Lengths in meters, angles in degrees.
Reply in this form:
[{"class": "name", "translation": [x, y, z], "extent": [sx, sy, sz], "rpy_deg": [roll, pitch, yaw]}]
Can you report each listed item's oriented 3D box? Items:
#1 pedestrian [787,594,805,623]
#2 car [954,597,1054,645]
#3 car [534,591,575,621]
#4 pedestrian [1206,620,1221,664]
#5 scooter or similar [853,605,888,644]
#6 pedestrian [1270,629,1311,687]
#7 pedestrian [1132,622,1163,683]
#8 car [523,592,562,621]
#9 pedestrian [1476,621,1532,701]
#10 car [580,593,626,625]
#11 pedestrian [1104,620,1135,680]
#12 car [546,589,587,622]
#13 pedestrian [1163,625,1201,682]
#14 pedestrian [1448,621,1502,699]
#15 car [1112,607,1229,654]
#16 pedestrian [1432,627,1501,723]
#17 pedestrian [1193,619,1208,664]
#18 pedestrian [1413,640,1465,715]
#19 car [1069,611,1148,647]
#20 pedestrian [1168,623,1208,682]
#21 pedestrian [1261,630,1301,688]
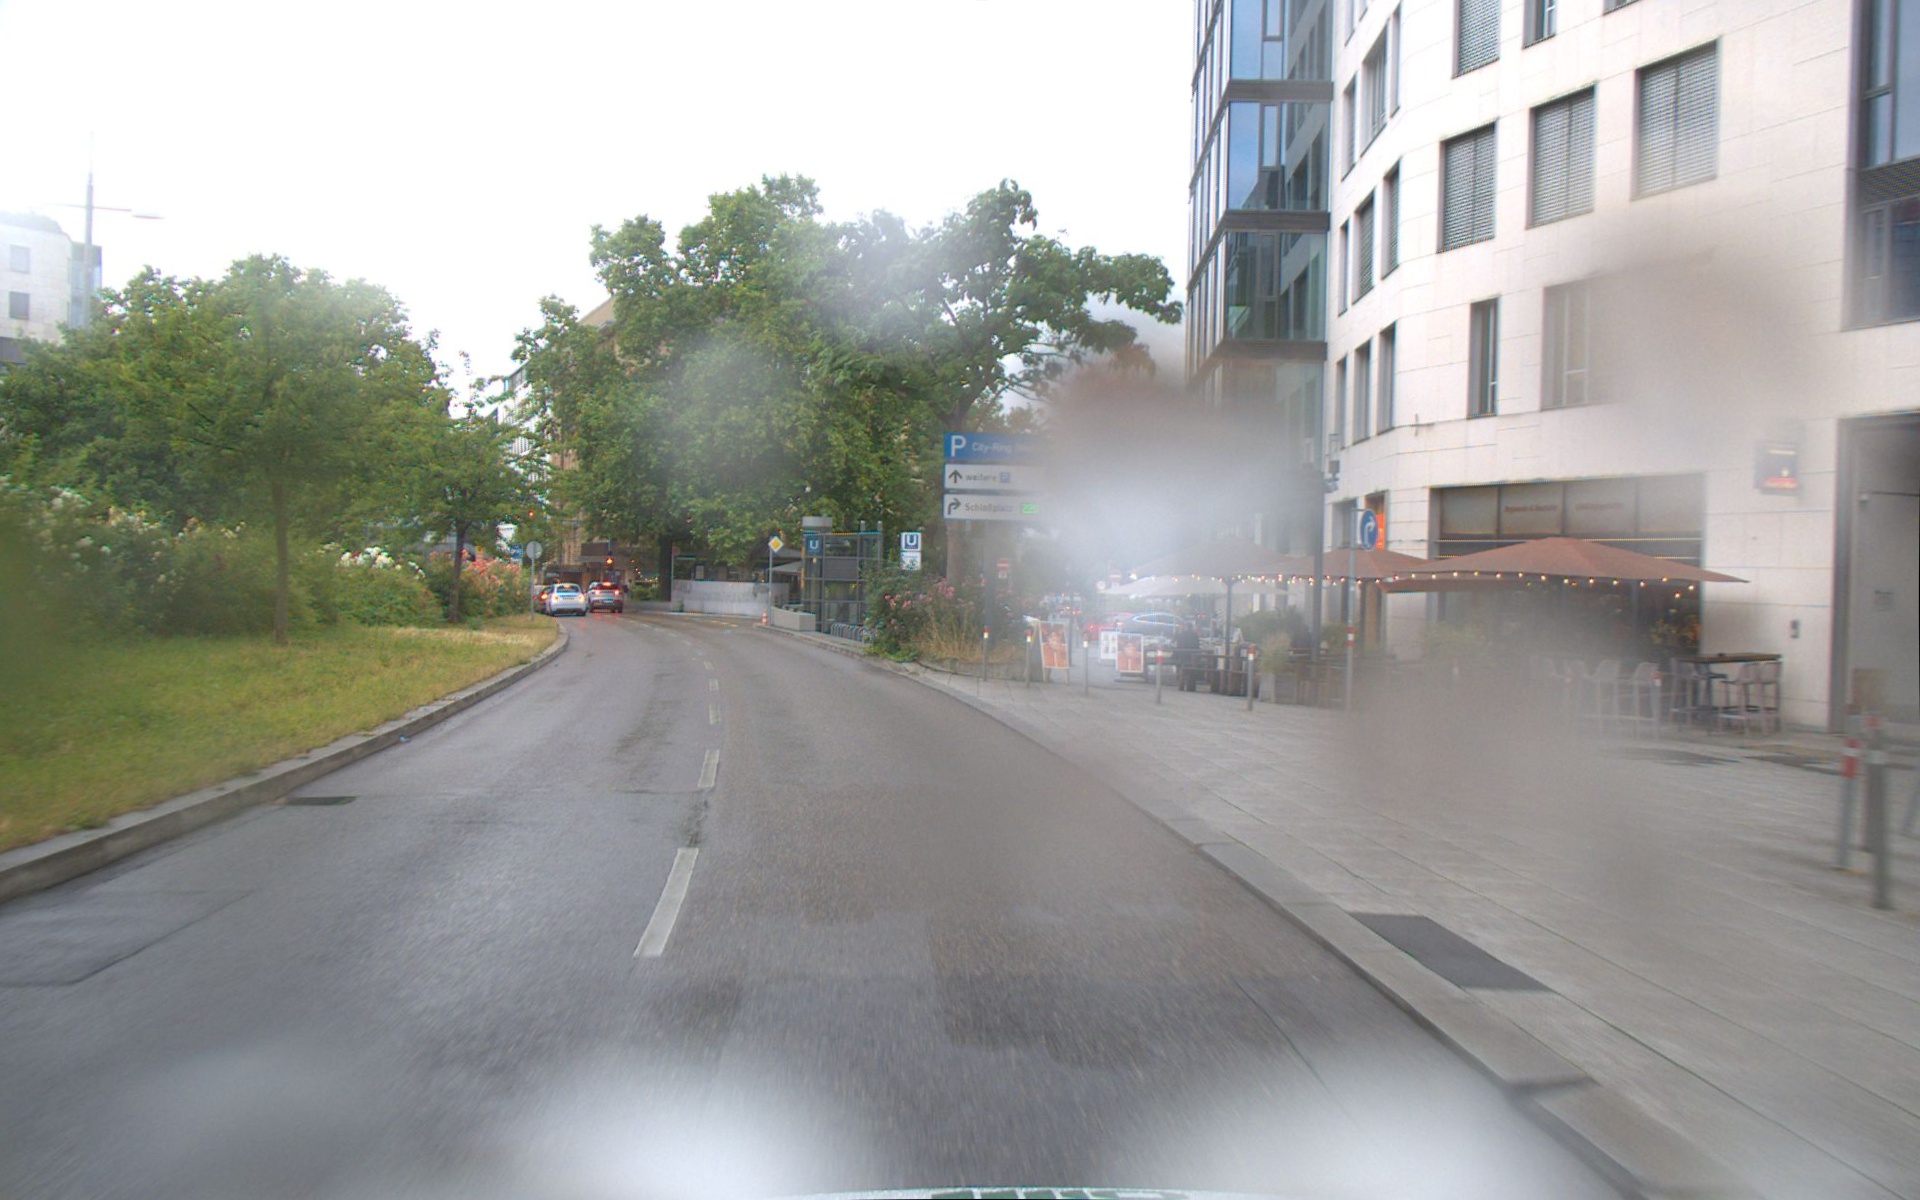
[{"class": "pedestrian", "translation": [-8.274, 0.441, 83.401], "extent": [0.673, 1.435, 0.901], "rpy_deg": [4, -2, -15]}, {"class": "car", "translation": [1.830, 0.891, 69.250], "extent": [4.014, 1.649, 1.862], "rpy_deg": [5, -1, -1]}, {"class": "car", "translation": [-20.887, 0.287, 85.110], "extent": [1.666, 1.488, 4.107], "rpy_deg": [-1, 0, -19]}, {"class": "pedestrian", "translation": [8.244, 1.354, 53.851], "extent": [0.425, 1.428, 0.478], "rpy_deg": [1, -1, 2]}, {"class": "scooter or similar", "translation": [-2.979, 0.814, 55.052], "extent": [1.094, 1.258, 0.363], "rpy_deg": [2, 0, -15]}, {"class": "pedestrian", "translation": [7.987, 1.398, 39.977], "extent": [0.800, 1.349, 0.636], "rpy_deg": [3, -1, 0]}, {"class": "pedestrian", "translation": [4.339, 1.207, 38.303], "extent": [0.594, 1.349, 0.567], "rpy_deg": [3, -1, 0]}, {"class": "car", "translation": [-23.059, 0.339, 91.279], "extent": [1.666, 1.488, 4.321], "rpy_deg": [-1, 0, -19]}, {"class": "pedestrian", "translation": [9.529, 1.069, 28.981], "extent": [0.618, 1.349, 0.632], "rpy_deg": [4, -1, -21]}, {"class": "car", "translation": [-19.700, 0.494, 91.223], "extent": [1.917, 1.695, 4.321], "rpy_deg": [2, -1, -19]}, {"class": "pedestrian", "translation": [3.683, 1.157, 38.284], "extent": [0.594, 1.349, 0.567], "rpy_deg": [3, -1, 0]}, {"class": "car", "translation": [-18.765, 0.228, 78.799], "extent": [1.566, 1.517, 3.485], "rpy_deg": [-1, 0, -19]}, {"class": "pedestrian", "translation": [5.473, 1.316, 40.814], "extent": [0.800, 1.349, 0.636], "rpy_deg": [3, -1, 0]}, {"class": "pedestrian", "translation": [9.283, 1.076, 29.808], "extent": [0.618, 1.349, 0.632], "rpy_deg": [4, -1, -21]}, {"class": "car", "translation": [8.734, 1.241, 68.886], "extent": [4.636, 1.720, 2.006], "rpy_deg": [2, 0, 3]}, {"class": "pedestrian", "translation": [7.523, 1.102, 24.583], "extent": [0.758, 1.349, 0.635], "rpy_deg": [3, -1, -1]}, {"class": "pedestrian", "translation": [7.782, 1.345, 53.481], "extent": [0.425, 1.428, 0.478], "rpy_deg": [1, -1, 2]}, {"class": "pedestrian", "translation": [8.946, 1.447, 30.910], "extent": [0.618, 1.349, 0.632], "rpy_deg": [4, -1, -21]}, {"class": "car", "translation": [6.846, 1.334, 76.560], "extent": [1.599, 1.440, 3.478], "rpy_deg": [3, 0, -40]}, {"class": "pedestrian", "translation": [5.500, 1.261, 39.927], "extent": [0.800, 1.349, 0.636], "rpy_deg": [3, -1, 0]}, {"class": "pedestrian", "translation": [7.917, 1.452, 40.774], "extent": [0.800, 1.349, 0.636], "rpy_deg": [3, -1, 0]}]
